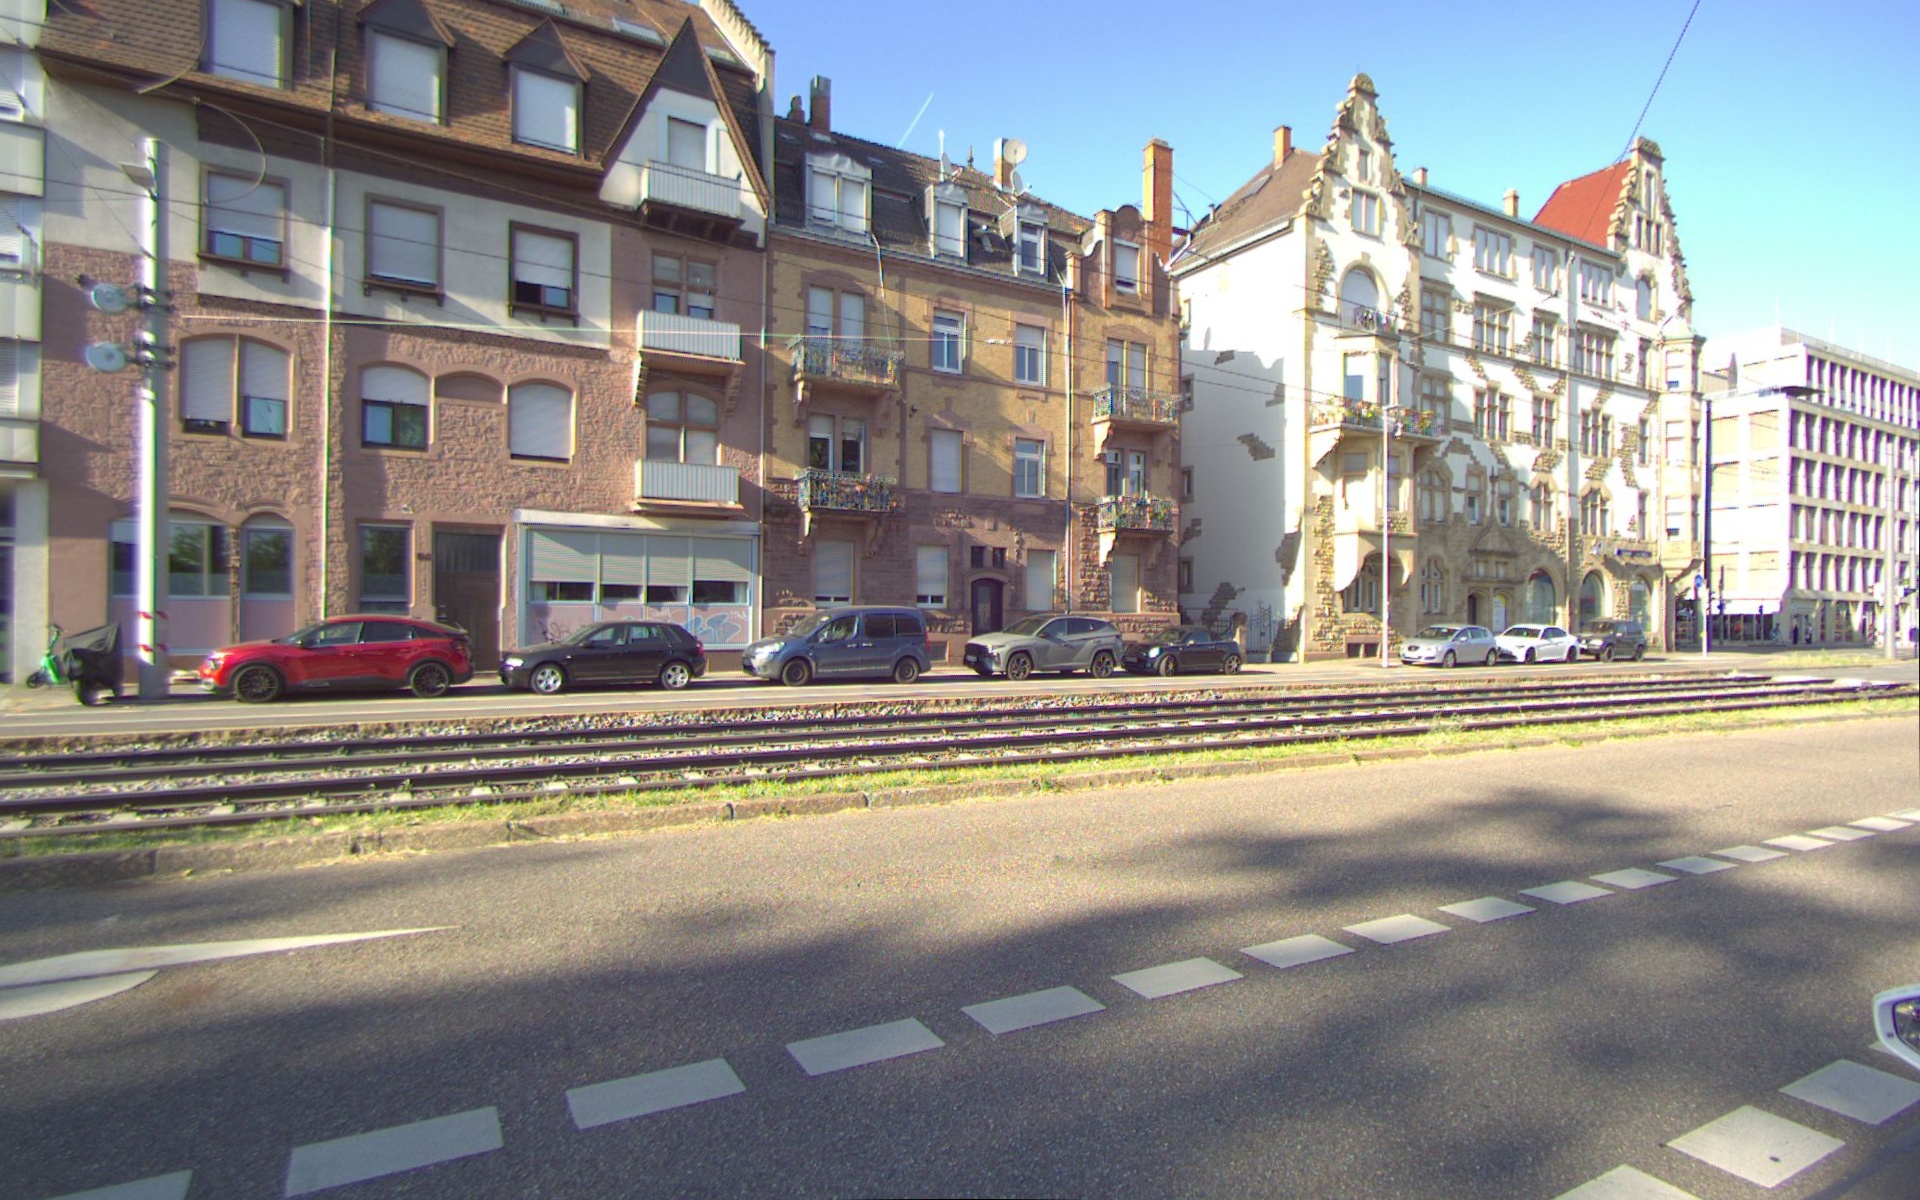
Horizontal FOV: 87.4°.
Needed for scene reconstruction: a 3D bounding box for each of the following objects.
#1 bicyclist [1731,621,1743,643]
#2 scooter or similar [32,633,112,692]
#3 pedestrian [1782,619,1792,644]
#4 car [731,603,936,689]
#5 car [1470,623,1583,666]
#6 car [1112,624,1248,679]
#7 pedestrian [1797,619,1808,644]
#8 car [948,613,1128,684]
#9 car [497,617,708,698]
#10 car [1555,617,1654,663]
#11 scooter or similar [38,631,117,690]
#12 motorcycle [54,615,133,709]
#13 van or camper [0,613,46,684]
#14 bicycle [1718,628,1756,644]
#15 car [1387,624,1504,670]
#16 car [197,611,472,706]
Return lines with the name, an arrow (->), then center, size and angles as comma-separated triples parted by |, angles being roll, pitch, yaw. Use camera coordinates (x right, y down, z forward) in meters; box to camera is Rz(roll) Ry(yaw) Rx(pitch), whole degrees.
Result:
bicyclist -> 62.652, 2.579, 81.000 | 0.571, 1.708, 0.637 | 1, -1, -35
scooter or similar -> -16.782, 1.163, 19.000 | 1.108, 1.083, 0.203 | 1, 1, -30
pedestrian -> 63.700, 2.420, 77.344 | 0.464, 1.868, 0.443 | 0, -1, 23
car -> -2.931, 1.029, 23.430 | 4.361, 1.782, 1.878 | 1, 2, -28
car -> 21.527, 1.644, 38.101 | 4.603, 1.442, 1.708 | 1, 1, -32
car -> 6.317, 1.431, 28.749 | 3.683, 1.373, 1.614 | 1, 2, -31
pedestrian -> 64.399, 2.410, 76.750 | 0.522, 1.868, 0.443 | 0, -1, 23
car -> 2.084, 1.217, 26.411 | 4.451, 1.645, 1.846 | 1, 2, -31
car -> -7.389, 1.121, 20.823 | 3.882, 1.457, 1.686 | 1, 2, -31
car -> 26.197, 1.599, 40.806 | 4.169, 1.698, 1.708 | 1, 1, -32
scooter or similar -> -16.906, 1.149, 19.250 | 1.108, 1.083, 0.203 | 1, 1, -30
motorcycle -> -14.657, 1.013, 17.043 | 0.621, 1.441, 1.847 | 0, 1, -29
van or camper -> -19.034, 0.960, 20.090 | 0.794, 1.375, 1.418 | 1, -1, -29
bicycle -> 62.616, 2.905, 81.006 | 0.571, 1.231, 2.365 | 1, -2, -35
car -> 17.001, 1.589, 35.136 | 4.177, 1.450, 1.700 | 1, 1, -32
car -> -11.505, 1.024, 18.774 | 4.162, 1.519, 1.846 | 1, 2, -31
